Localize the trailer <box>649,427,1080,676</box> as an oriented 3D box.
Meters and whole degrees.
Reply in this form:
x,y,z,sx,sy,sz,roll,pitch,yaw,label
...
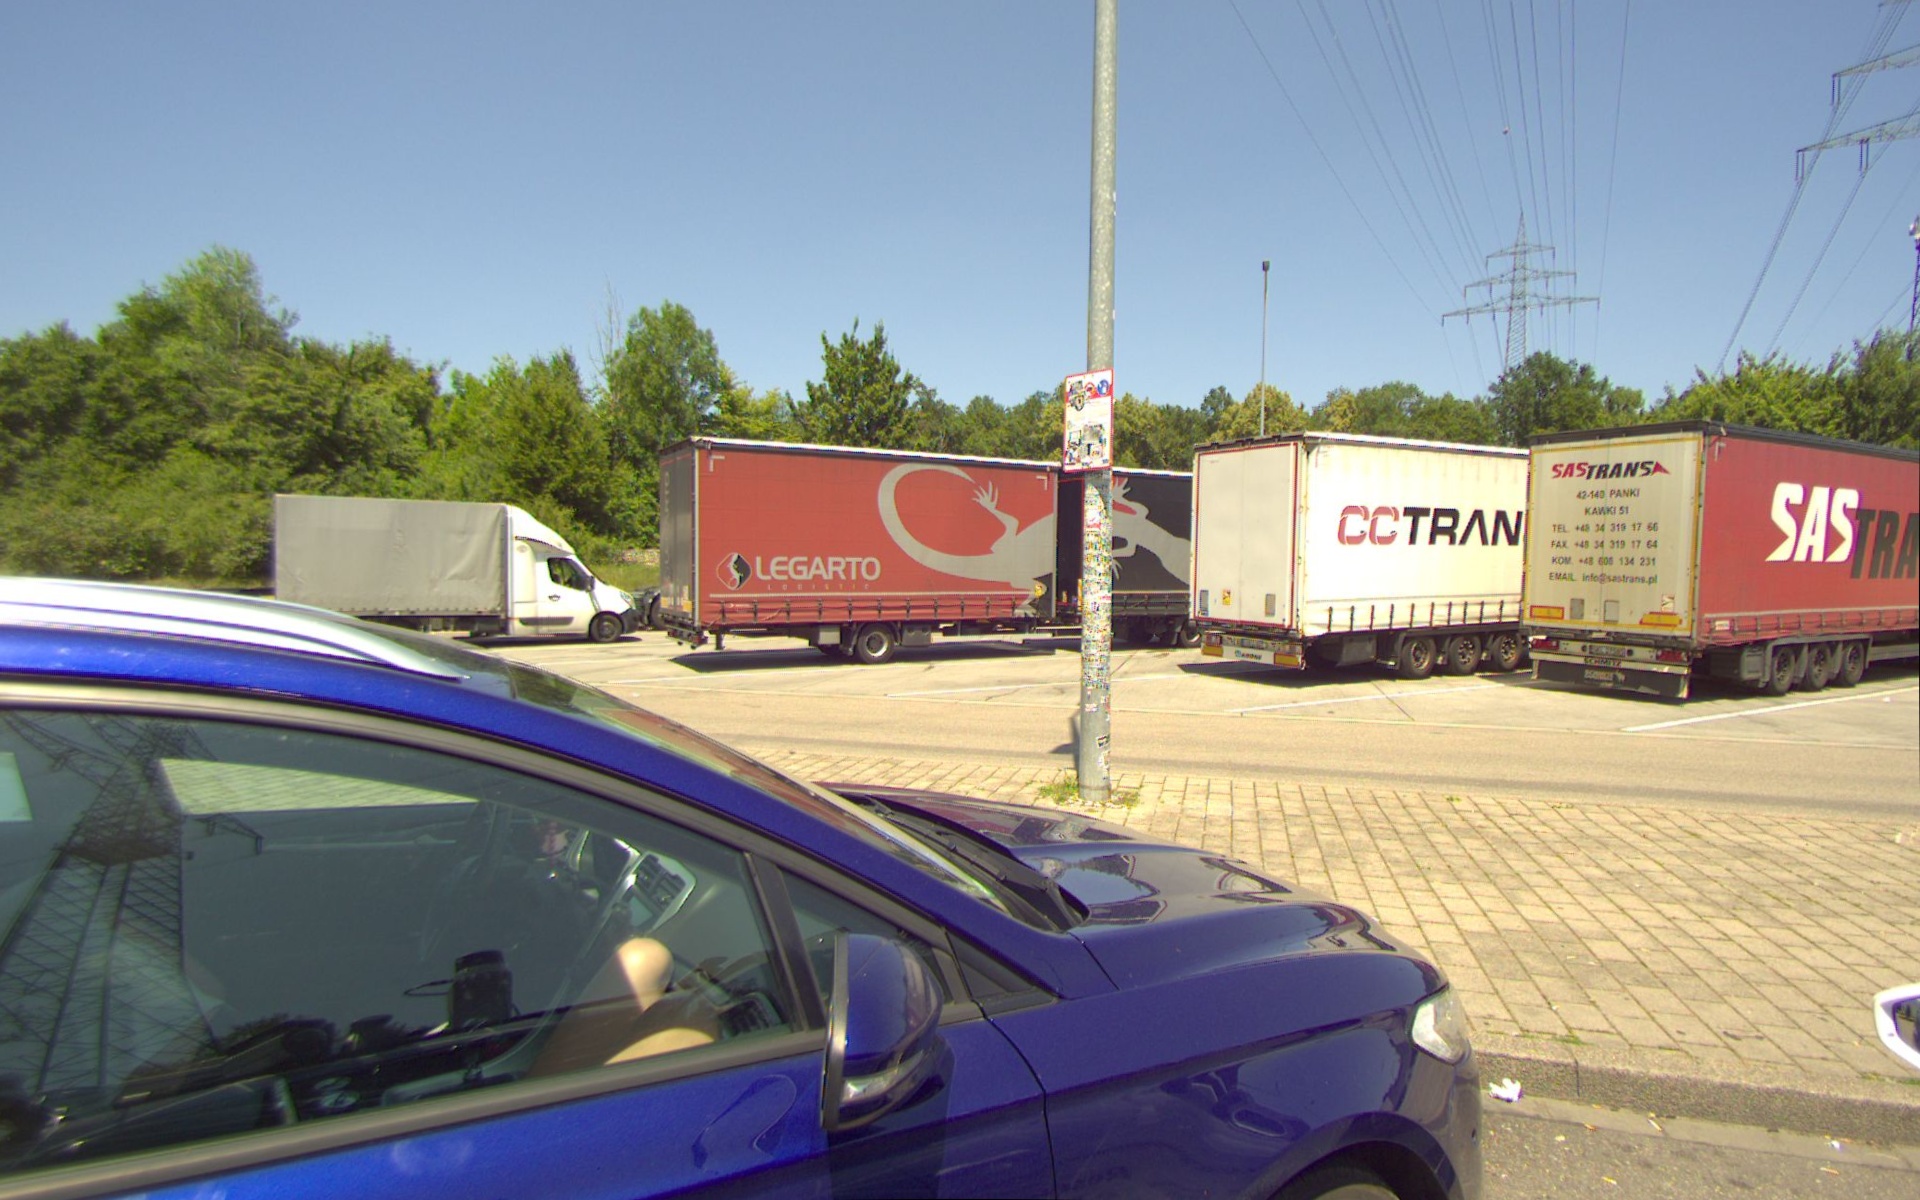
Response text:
x,y,z,sx,sy,sz,roll,pitch,yaw,label
-1.738,-0.929,20.509,8.389,4.248,2.800,-1,2,-30,trailer

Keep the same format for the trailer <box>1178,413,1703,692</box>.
x,y,z,sx,sy,sz,roll,pitch,yaw,label
10.116,-0.883,20.073,12.786,4.325,2.800,-1,2,-31,trailer

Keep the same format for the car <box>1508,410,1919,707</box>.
x,y,z,sx,sy,sz,roll,pitch,yaw,label
15.222,-0.694,18.460,12.777,4.169,2.683,-1,3,-30,car

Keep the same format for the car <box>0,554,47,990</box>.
x,y,z,sx,sy,sz,roll,pitch,yaw,label
-4.605,0.558,2.121,3.700,1.432,1.595,0,0,-32,car

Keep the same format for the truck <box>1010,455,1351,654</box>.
x,y,z,sx,sy,sz,roll,pitch,yaw,label
5.608,-1.079,24.834,8.683,4.248,2.800,-1,2,-30,truck

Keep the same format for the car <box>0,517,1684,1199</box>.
x,y,z,sx,sy,sz,roll,pitch,yaw,label
-0.979,0.672,1.470,4.380,1.464,1.771,0,0,-32,car

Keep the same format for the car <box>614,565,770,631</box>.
x,y,z,sx,sy,sz,roll,pitch,yaw,label
-7.600,-0.047,28.521,3.953,1.773,1.902,0,0,-30,car

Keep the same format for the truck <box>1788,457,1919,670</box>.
x,y,z,sx,sy,sz,roll,pitch,yaw,label
21.147,-0.776,21.872,6.163,4.169,2.683,-1,3,-30,truck

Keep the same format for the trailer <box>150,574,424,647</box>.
x,y,z,sx,sy,sz,roll,pitch,yaw,label
-15.945,0.243,24.184,5.332,1.617,1.585,0,0,-30,trailer

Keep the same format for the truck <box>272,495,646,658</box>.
x,y,z,sx,sy,sz,roll,pitch,yaw,label
-11.109,-0.584,22.878,7.219,3.277,2.308,-2,3,-29,truck
